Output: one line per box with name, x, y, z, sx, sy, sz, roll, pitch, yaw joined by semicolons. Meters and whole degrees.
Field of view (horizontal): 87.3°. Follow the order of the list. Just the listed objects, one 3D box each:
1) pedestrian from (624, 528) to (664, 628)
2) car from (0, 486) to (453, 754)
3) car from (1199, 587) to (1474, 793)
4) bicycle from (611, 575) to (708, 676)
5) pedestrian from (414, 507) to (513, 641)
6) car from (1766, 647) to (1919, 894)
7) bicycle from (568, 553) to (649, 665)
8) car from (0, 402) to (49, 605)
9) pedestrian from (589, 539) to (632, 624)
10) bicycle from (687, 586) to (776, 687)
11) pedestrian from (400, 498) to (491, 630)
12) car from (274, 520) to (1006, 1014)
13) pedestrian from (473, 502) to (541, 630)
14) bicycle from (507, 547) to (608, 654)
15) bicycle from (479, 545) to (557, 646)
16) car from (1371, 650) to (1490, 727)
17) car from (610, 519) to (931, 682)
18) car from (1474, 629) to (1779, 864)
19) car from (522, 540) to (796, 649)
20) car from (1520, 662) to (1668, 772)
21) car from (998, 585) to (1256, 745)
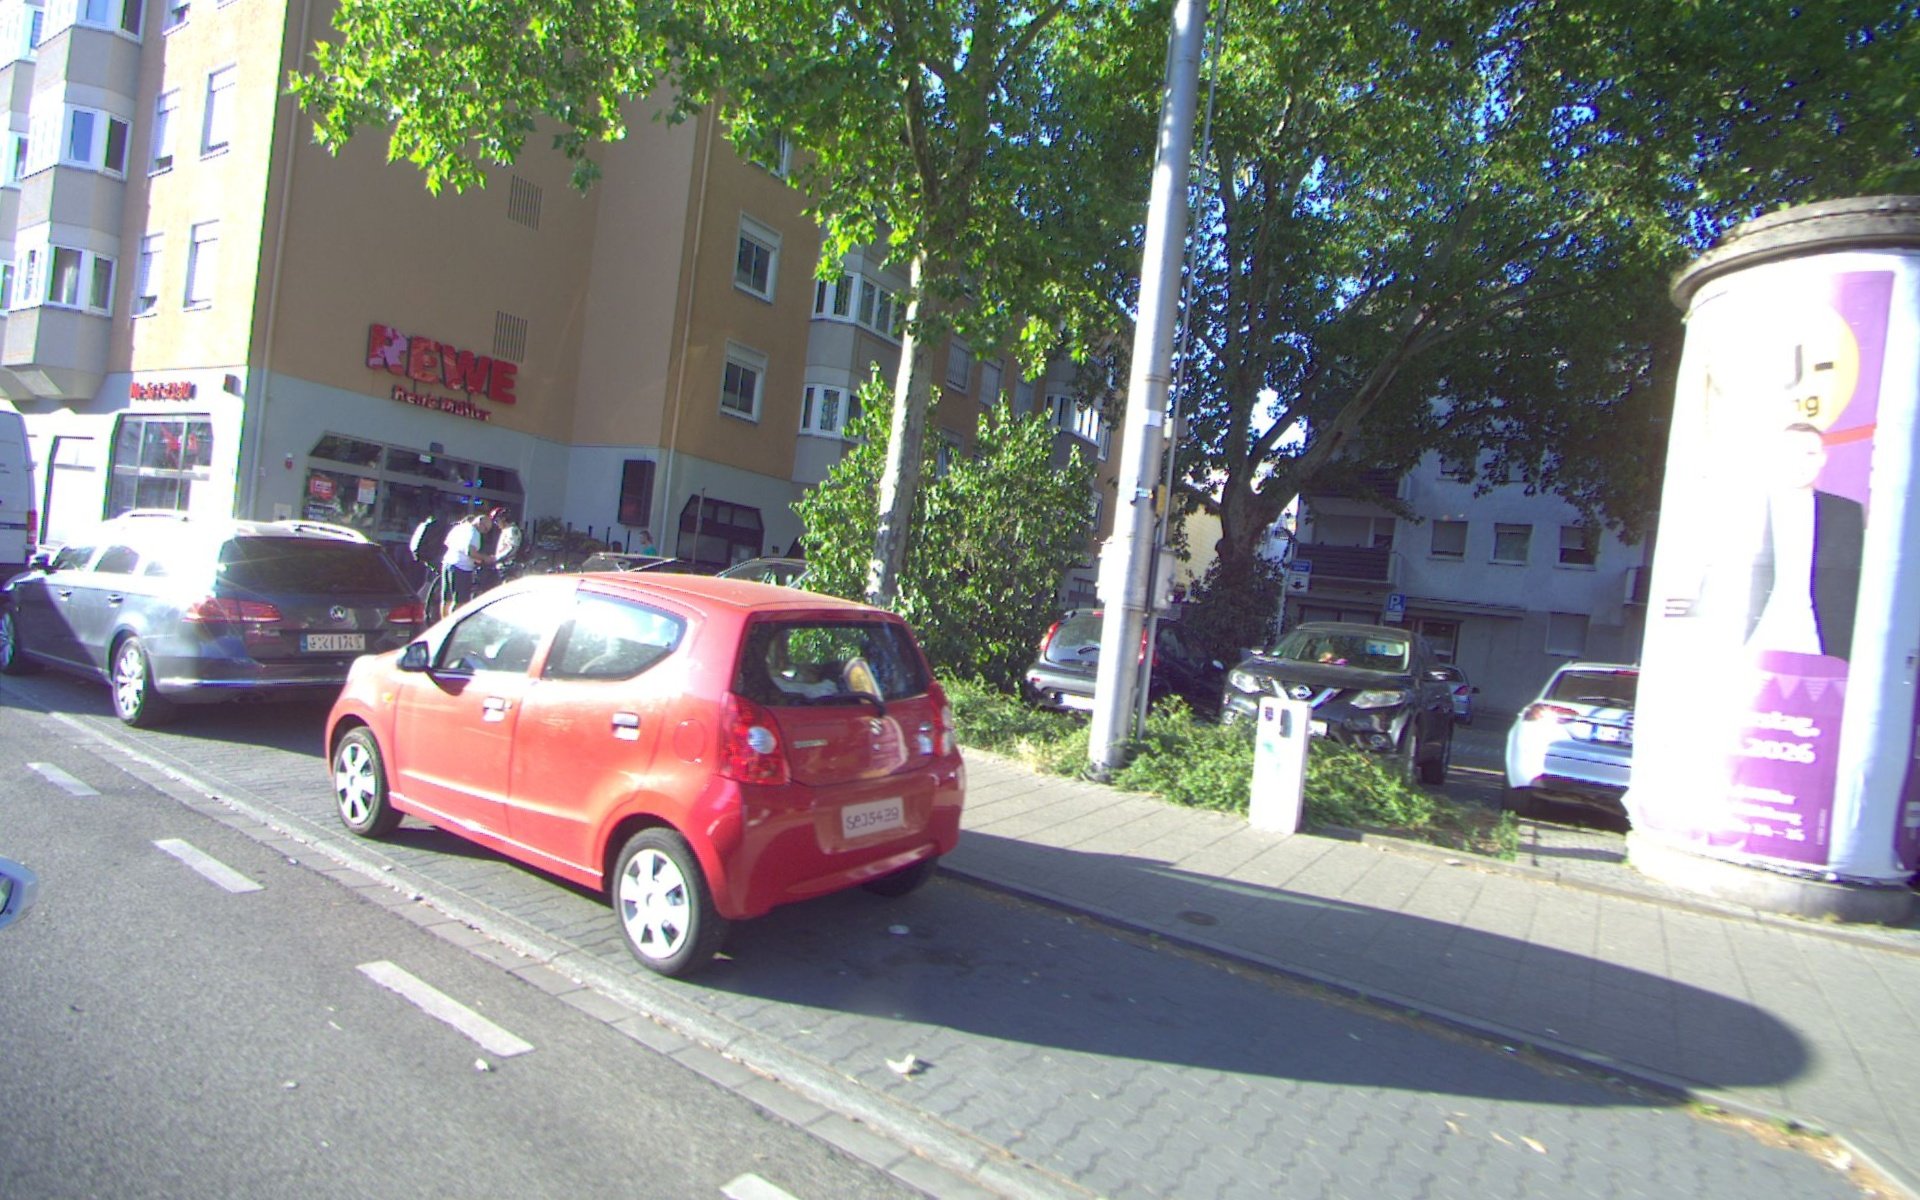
pedestrian;-6.263;-0.427;19.957;0.466;1.905;0.574;6;1;-7
car;-6.273;-0.001;8.197;4.576;1.551;1.696;6;3;33
car;4.222;1.013;10.845;1.826;1.618;4.030;7;-3;33
bicycle;-3.460;0.274;11.698;0.639;1.026;1.582;6;0;-4
pedestrian;-6.613;-0.348;13.397;0.973;1.659;0.659;8;4;27
car;8.085;1.451;8.284;1.827;1.650;3.845;7;-2;35
bicycle;-4.318;0.097;12.464;0.637;1.242;1.579;6;0;-12
car;-14.907;-1.500;14.005;5.692;2.586;2.015;7;4;34
pedestrian;-6.830;-0.351;19.680;0.413;1.587;0.639;6;1;4
bicycle;-2.605;0.393;11.647;0.639;1.026;1.679;6;0;-4
pedestrian;-7.315;-0.505;14.294;0.756;1.776;0.805;8;5;34
car;-1.752;0.520;5.055;3.568;1.514;1.569;7;2;34
pedestrian;-6.702;-0.494;14.883;0.639;1.807;0.528;8;4;27
bicycle;-5.197;0.009;13.077;0.639;1.242;1.582;6;0;-4
bicycle;-5.892;-0.063;13.475;0.396;1.242;1.519;6;0;-6
car;11.883;2.210;25.255;1.968;1.553;4.051;7;-1;34
car;-2.641;0.123;15.235;1.968;1.727;4.628;7;-3;33
car;6.161;1.316;9.369;1.827;1.511;3.847;7;-3;35
car;-4.890;-0.032;16.847;1.968;1.449;4.017;3;-2;33
car;11.812;2.107;18.700;1.968;1.553;4.051;7;-1;34
car;2.174;0.874;12.306;1.745;1.499;3.505;7;-3;33
